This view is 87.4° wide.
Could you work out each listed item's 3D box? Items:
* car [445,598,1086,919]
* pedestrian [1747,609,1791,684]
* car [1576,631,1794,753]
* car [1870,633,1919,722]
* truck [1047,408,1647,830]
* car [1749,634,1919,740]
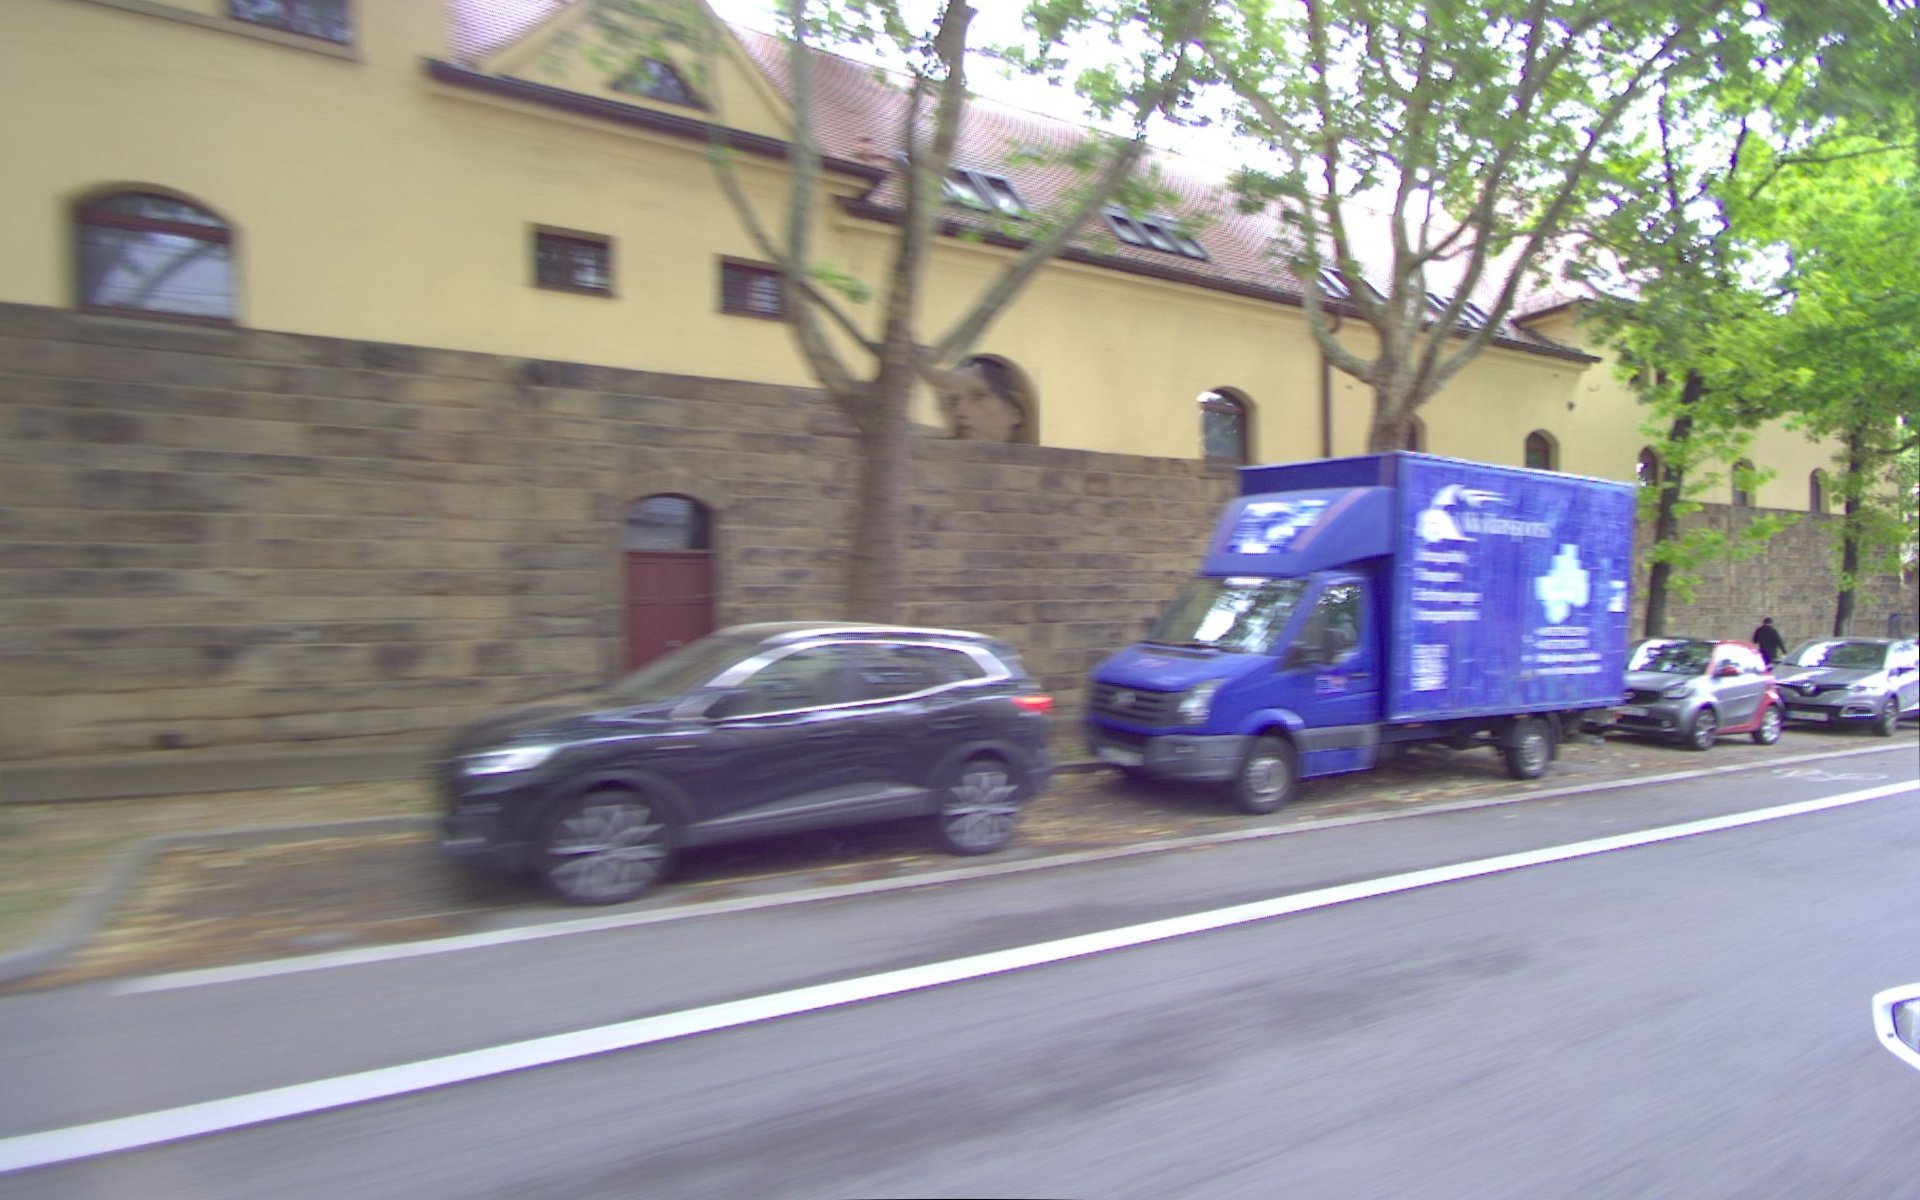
[{"bbox_3d":[-1.296,0.915,7.261,4.204,1.711,1.722,2,0,-31],"label":"car"},{"bbox_3d":[20.071,1.139,24.921,0.734,1.823,0.590,2,0,-29],"label":"pedestrian"},{"bbox_3d":[10.827,1.316,14.998,2.955,1.594,1.474,2,0,-28],"label":"car"},{"bbox_3d":[19.959,1.541,20.160,4.071,1.653,1.499,2,0,-33],"label":"car"},{"bbox_3d":[4.531,0.211,11.068,7.165,3.462,2.203,1,1,-31],"label":"truck"},{"bbox_3d":[15.651,1.453,17.645,4.044,1.594,1.584,2,0,-33],"label":"car"}]
